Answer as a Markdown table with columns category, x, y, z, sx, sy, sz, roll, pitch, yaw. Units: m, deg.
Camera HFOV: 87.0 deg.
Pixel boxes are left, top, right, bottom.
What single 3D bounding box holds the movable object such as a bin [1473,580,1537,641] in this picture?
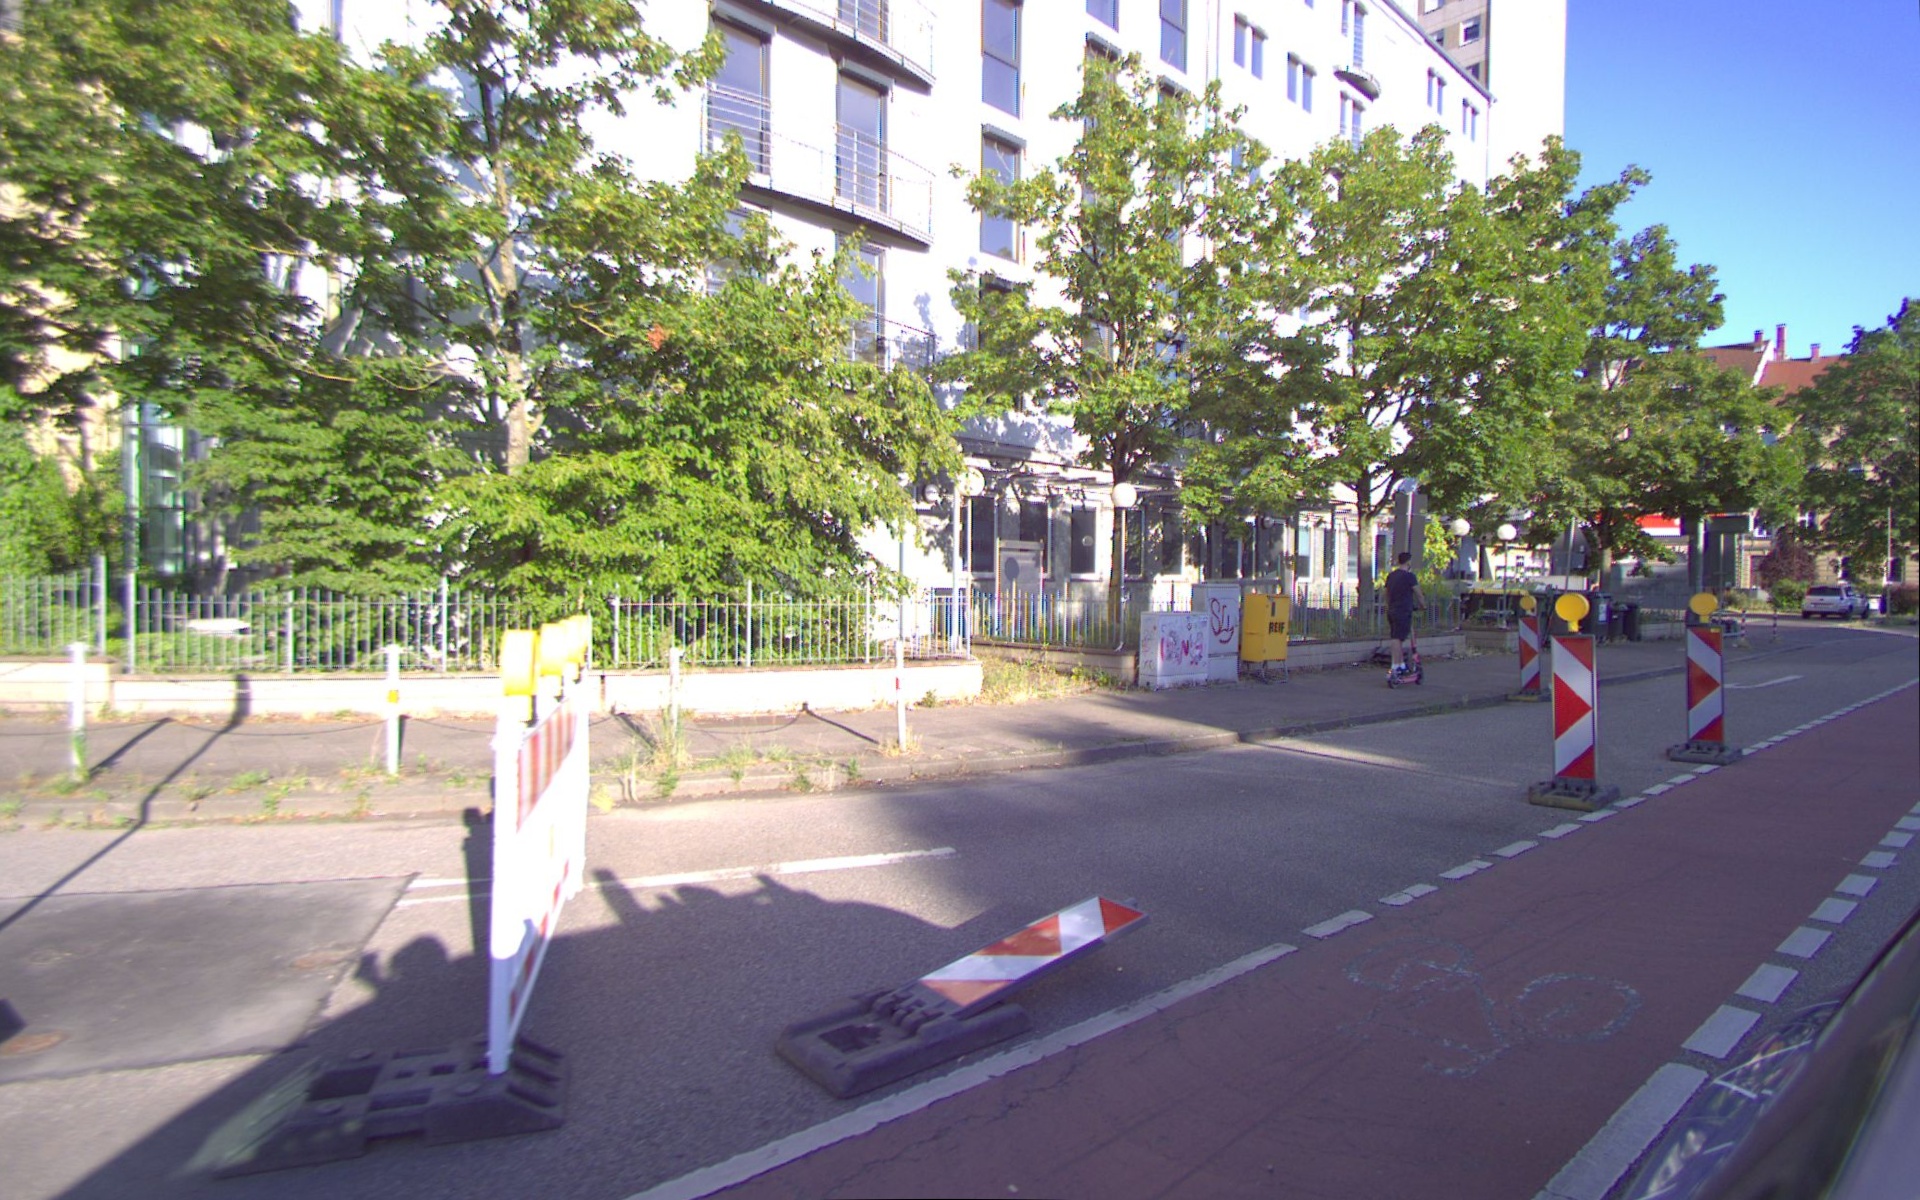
| category | x | y | z | sx | sy | sz | roll | pitch | yaw |
| --- | --- | --- | --- | --- | --- | --- | --- | --- | --- |
| movable object such as a bin | 12.735 | 0.226 | 23.638 | 1.209 | 1.361 | 1.042 | 1 | 1 | 35 |

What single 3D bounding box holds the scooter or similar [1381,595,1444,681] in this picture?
| category | x | y | z | sx | sy | sz | roll | pitch | yaw |
| --- | --- | --- | --- | --- | --- | --- | --- | --- | --- |
| scooter or similar | 6.681 | 0.536 | 14.937 | 1.228 | 1.209 | 0.331 | 0 | 1 | -40 |

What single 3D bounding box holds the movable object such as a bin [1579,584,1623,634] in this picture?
| category | x | y | z | sx | sy | sz | roll | pitch | yaw |
| --- | --- | --- | --- | --- | --- | --- | --- | --- | --- |
| movable object such as a bin | 17.419 | 0.229 | 27.492 | 0.850 | 1.325 | 0.778 | 0 | 1 | -42 |

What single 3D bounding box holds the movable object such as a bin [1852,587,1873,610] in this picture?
| category | x | y | z | sx | sy | sz | roll | pitch | yaw |
| --- | --- | --- | --- | --- | --- | --- | --- | --- | --- |
| movable object such as a bin | 42.535 | -0.073 | 47.699 | 0.661 | 1.042 | 0.573 | 0 | 1 | -37 |

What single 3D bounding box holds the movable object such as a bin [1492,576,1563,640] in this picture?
| category | x | y | z | sx | sy | sz | roll | pitch | yaw |
| --- | --- | --- | --- | --- | --- | --- | --- | --- | --- |
| movable object such as a bin | 14.022 | 0.173 | 25.018 | 1.325 | 1.503 | 1.193 | 2 | 1 | 40 |

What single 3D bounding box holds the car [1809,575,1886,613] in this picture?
| category | x | y | z | sx | sy | sz | roll | pitch | yaw |
| --- | --- | --- | --- | --- | --- | --- | --- | --- | --- |
| car | 39.262 | -0.285 | 44.765 | 3.819 | 1.613 | 1.625 | -1 | 2 | -34 |

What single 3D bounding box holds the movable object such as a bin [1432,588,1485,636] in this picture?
| category | x | y | z | sx | sy | sz | roll | pitch | yaw |
| --- | --- | --- | --- | --- | --- | --- | --- | --- | --- |
| movable object such as a bin | 12.432 | 0.289 | 25.248 | 0.639 | 1.143 | 1.025 | 0 | 1 | -39 |

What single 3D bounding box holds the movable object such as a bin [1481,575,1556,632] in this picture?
| category | x | y | z | sx | sy | sz | roll | pitch | yaw |
| --- | --- | --- | --- | --- | --- | --- | --- | --- | --- |
| movable object such as a bin | 15.023 | 0.084 | 27.240 | 1.255 | 1.451 | 1.313 | 1 | 2 | -35 |

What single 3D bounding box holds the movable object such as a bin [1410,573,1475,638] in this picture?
| category | x | y | z | sx | sy | sz | roll | pitch | yaw |
| --- | --- | --- | --- | --- | --- | --- | --- | --- | --- |
| movable object such as a bin | 11.608 | 0.119 | 24.347 | 0.940 | 1.503 | 1.105 | 0 | 1 | -41 |

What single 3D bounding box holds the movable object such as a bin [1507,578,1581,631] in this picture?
| category | x | y | z | sx | sy | sz | roll | pitch | yaw |
| --- | --- | --- | --- | --- | --- | --- | --- | --- | --- |
| movable object such as a bin | 16.432 | 0.118 | 28.481 | 0.850 | 1.427 | 1.610 | 0 | 2 | -41 |

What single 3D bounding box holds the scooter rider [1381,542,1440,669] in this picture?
| category | x | y | z | sx | sy | sz | roll | pitch | yaw |
| --- | --- | --- | --- | --- | --- | --- | --- | --- | --- |
| scooter rider | 6.632 | 0.071 | 14.909 | 0.478 | 1.812 | 0.616 | 0 | 1 | -38 |

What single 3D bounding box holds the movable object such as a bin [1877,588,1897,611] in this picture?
| category | x | y | z | sx | sy | sz | roll | pitch | yaw |
| --- | --- | --- | --- | --- | --- | --- | --- | --- | --- |
| movable object such as a bin | 43.084 | -0.019 | 47.036 | 0.661 | 1.042 | 0.573 | 0 | 1 | -37 |

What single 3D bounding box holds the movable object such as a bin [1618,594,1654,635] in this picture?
| category | x | y | z | sx | sy | sz | roll | pitch | yaw |
| --- | --- | --- | --- | --- | --- | --- | --- | --- | --- |
| movable object such as a bin | 18.018 | 0.378 | 26.965 | 0.605 | 1.059 | 0.621 | 0 | 1 | -38 |

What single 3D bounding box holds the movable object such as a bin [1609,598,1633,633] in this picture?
| category | x | y | z | sx | sy | sz | roll | pitch | yaw |
| --- | --- | --- | --- | --- | --- | --- | --- | --- | --- |
| movable object such as a bin | 17.457 | 0.404 | 26.726 | 0.481 | 0.918 | 0.394 | 0 | 1 | -38 |

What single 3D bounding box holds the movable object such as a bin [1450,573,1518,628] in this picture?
| category | x | y | z | sx | sy | sz | roll | pitch | yaw |
| --- | --- | --- | --- | --- | --- | --- | --- | --- | --- |
| movable object such as a bin | 14.434 | 0.008 | 27.903 | 1.255 | 1.438 | 1.199 | 1 | 2 | -38 |

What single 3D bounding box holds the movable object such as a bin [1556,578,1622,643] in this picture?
| category | x | y | z | sx | sy | sz | roll | pitch | yaw |
| --- | --- | --- | --- | --- | --- | --- | --- | --- | --- |
| movable object such as a bin | 15.708 | 0.231 | 25.269 | 1.232 | 1.526 | 1.095 | -4 | 3 | -40 |
